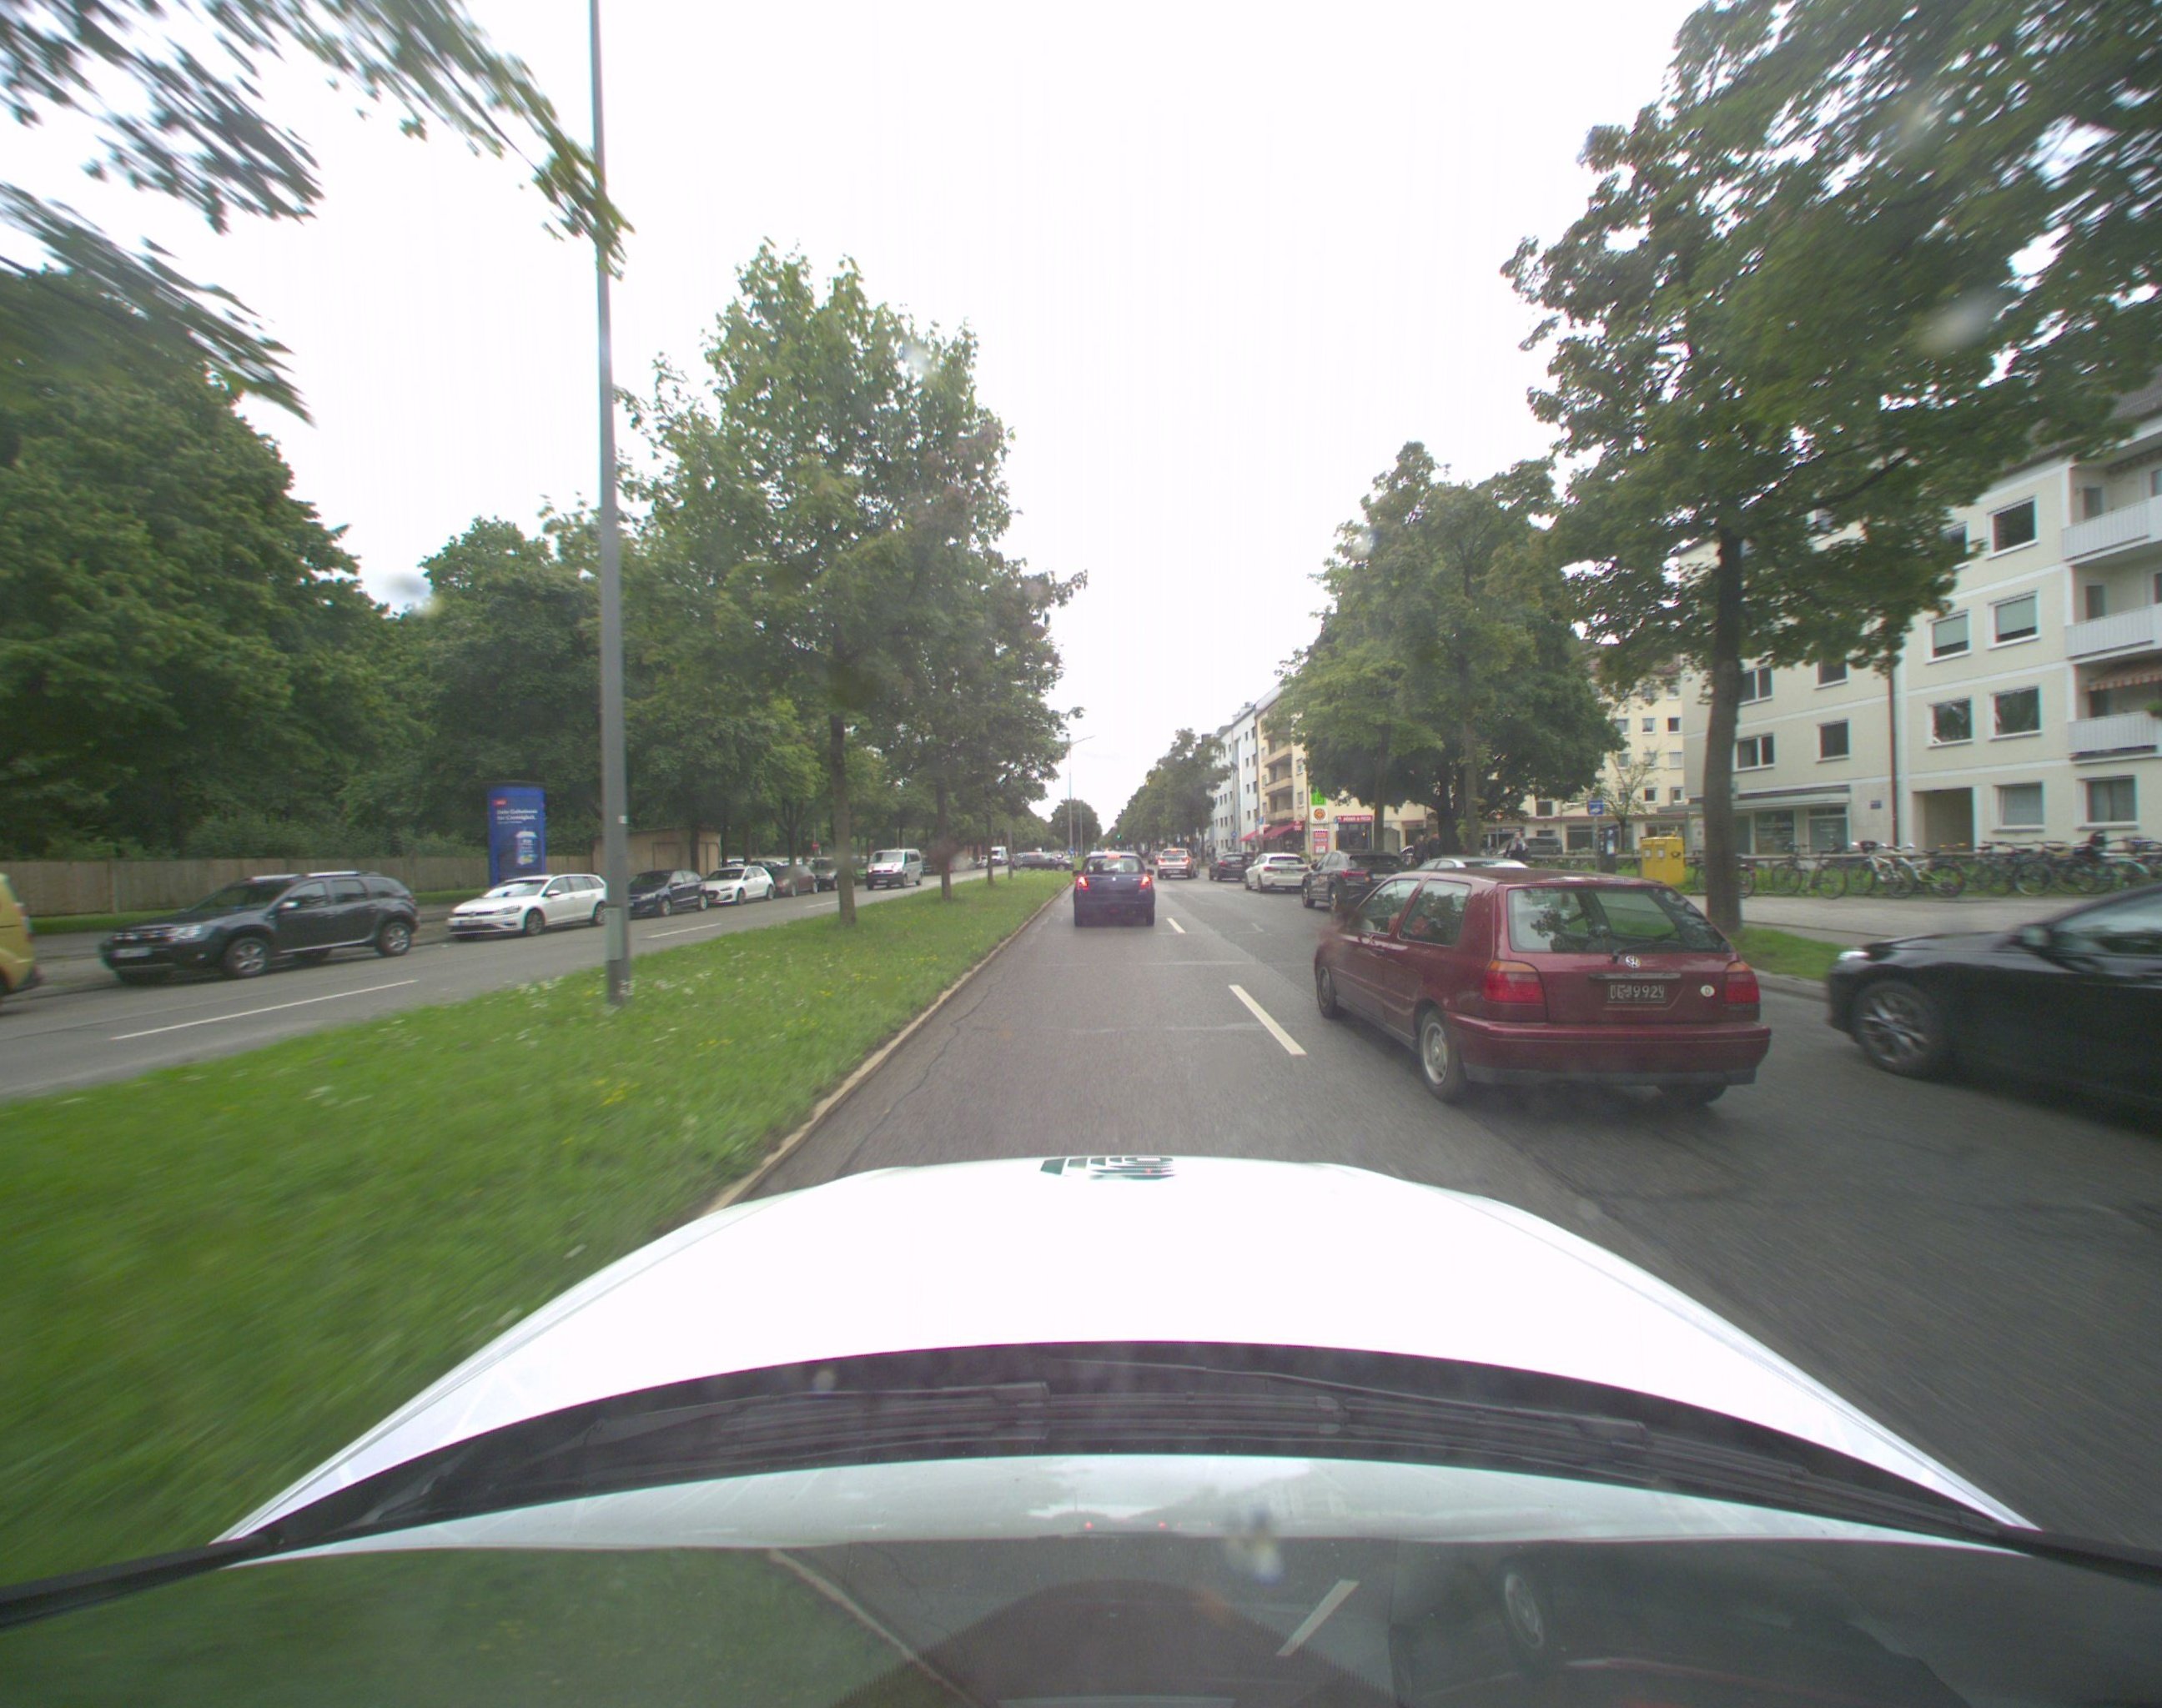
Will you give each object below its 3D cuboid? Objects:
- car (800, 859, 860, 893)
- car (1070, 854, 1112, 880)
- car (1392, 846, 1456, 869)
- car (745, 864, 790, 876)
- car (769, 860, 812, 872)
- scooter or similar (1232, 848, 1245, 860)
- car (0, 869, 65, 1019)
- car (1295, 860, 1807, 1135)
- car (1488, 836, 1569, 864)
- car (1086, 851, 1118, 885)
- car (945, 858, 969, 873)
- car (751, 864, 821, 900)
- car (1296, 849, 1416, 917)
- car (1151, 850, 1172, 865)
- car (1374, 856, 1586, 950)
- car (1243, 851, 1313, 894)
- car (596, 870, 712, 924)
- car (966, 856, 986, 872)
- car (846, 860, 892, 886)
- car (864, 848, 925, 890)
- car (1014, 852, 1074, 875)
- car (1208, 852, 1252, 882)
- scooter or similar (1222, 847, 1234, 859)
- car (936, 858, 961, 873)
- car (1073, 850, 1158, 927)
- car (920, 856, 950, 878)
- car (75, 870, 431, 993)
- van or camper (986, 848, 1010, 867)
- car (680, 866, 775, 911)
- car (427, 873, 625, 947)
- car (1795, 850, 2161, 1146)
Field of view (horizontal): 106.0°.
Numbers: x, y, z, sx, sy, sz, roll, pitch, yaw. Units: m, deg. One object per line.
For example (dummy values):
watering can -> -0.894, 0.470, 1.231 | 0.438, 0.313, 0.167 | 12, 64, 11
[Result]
car -> -13.093, 1.097, 42.731 | 1.685, 1.586, 4.371 | -3, 0, 1
car -> 0.561, 0.718, 48.826 | 1.684, 1.463, 3.717 | -1, 0, -13
car -> 23.091, 0.234, 54.941 | 3.533, 1.417, 1.873 | -2, 0, 3
car -> -37.030, 1.894, 96.243 | 4.673, 1.445, 1.673 | 0, 0, 2
car -> -35.775, 1.517, 100.259 | 4.673, 1.445, 1.673 | 0, 0, 2
scooter or similar -> 17.845, -0.038, 92.456 | 1.028, 1.307, 2.757 | -1, 0, 2
car -> -13.987, 1.142, 7.981 | 1.807, 1.783, 4.821 | -3, 0, 3
car -> 2.946, 0.757, 6.173 | 1.676, 1.383, 3.919 | 0, 0, 1
car -> 31.744, -0.274, 57.882 | 4.720, 1.773, 1.871 | -2, 0, 0
car -> 0.965, 0.639, 38.669 | 1.439, 1.483, 3.106 | -1, 0, 1
car -> -11.917, 1.077, 78.615 | 1.661, 1.445, 3.879 | 0, 0, 1
car -> -13.310, 1.236, 36.943 | 1.584, 1.397, 3.634 | -3, 0, 3
car -> 6.759, 0.650, 20.492 | 1.710, 1.533, 4.277 | 0, 0, 2
car -> 8.802, 0.334, 89.598 | 1.859, 1.517, 4.224 | -2, 0, 0
car -> 6.798, 0.748, 14.443 | 1.631, 1.386, 4.242 | 0, 0, -1
car -> 7.278, 0.638, 30.500 | 1.676, 1.465, 4.138 | 1, 0, 1
car -> -13.468, 1.292, 25.952 | 1.608, 1.417, 3.896 | -3, 0, -1
car -> -11.575, 1.121, 90.341 | 1.627, 1.741, 3.879 | 0, 0, 1
car -> -13.259, 1.158, 51.174 | 1.540, 1.409, 3.883 | -3, 0, 4
car -> -9.373, 0.717, 41.344 | 1.793, 1.933, 4.995 | -3, 0, 1
car -> -2.586, 0.622, 57.089 | 4.114, 1.468, 1.837 | -1, 0, -5
car -> 7.465, 0.632, 41.045 | 1.611, 1.465, 3.675 | 0, 0, 1
scooter or similar -> 17.696, -0.111, 97.932 | 1.028, 1.307, 2.757 | -1, 0, 2
car -> -11.992, 1.066, 73.816 | 1.585, 1.312, 3.381 | 0, 0, 1
car -> 0.713, 0.684, 18.157 | 1.676, 1.502, 3.919 | -1, 0, 1
car -> -12.204, 1.054, 68.200 | 1.710, 1.741, 3.879 | 0, 0, 1
car -> -14.007, 1.194, 14.236 | 1.730, 1.646, 4.257 | -3, 0, 1
van or camper -> -11.165, 0.516, 109.864 | 2.108, 2.482, 7.453 | 0, 0, 3
car -> -13.521, 1.266, 31.430 | 1.601, 1.444, 4.281 | -3, 0, 2
car -> -13.784, 1.328, 20.636 | 1.756, 1.449, 4.534 | -3, 0, 1
car -> 6.231, 0.712, 4.113 | 1.743, 1.465, 4.179 | 0, 0, 3
